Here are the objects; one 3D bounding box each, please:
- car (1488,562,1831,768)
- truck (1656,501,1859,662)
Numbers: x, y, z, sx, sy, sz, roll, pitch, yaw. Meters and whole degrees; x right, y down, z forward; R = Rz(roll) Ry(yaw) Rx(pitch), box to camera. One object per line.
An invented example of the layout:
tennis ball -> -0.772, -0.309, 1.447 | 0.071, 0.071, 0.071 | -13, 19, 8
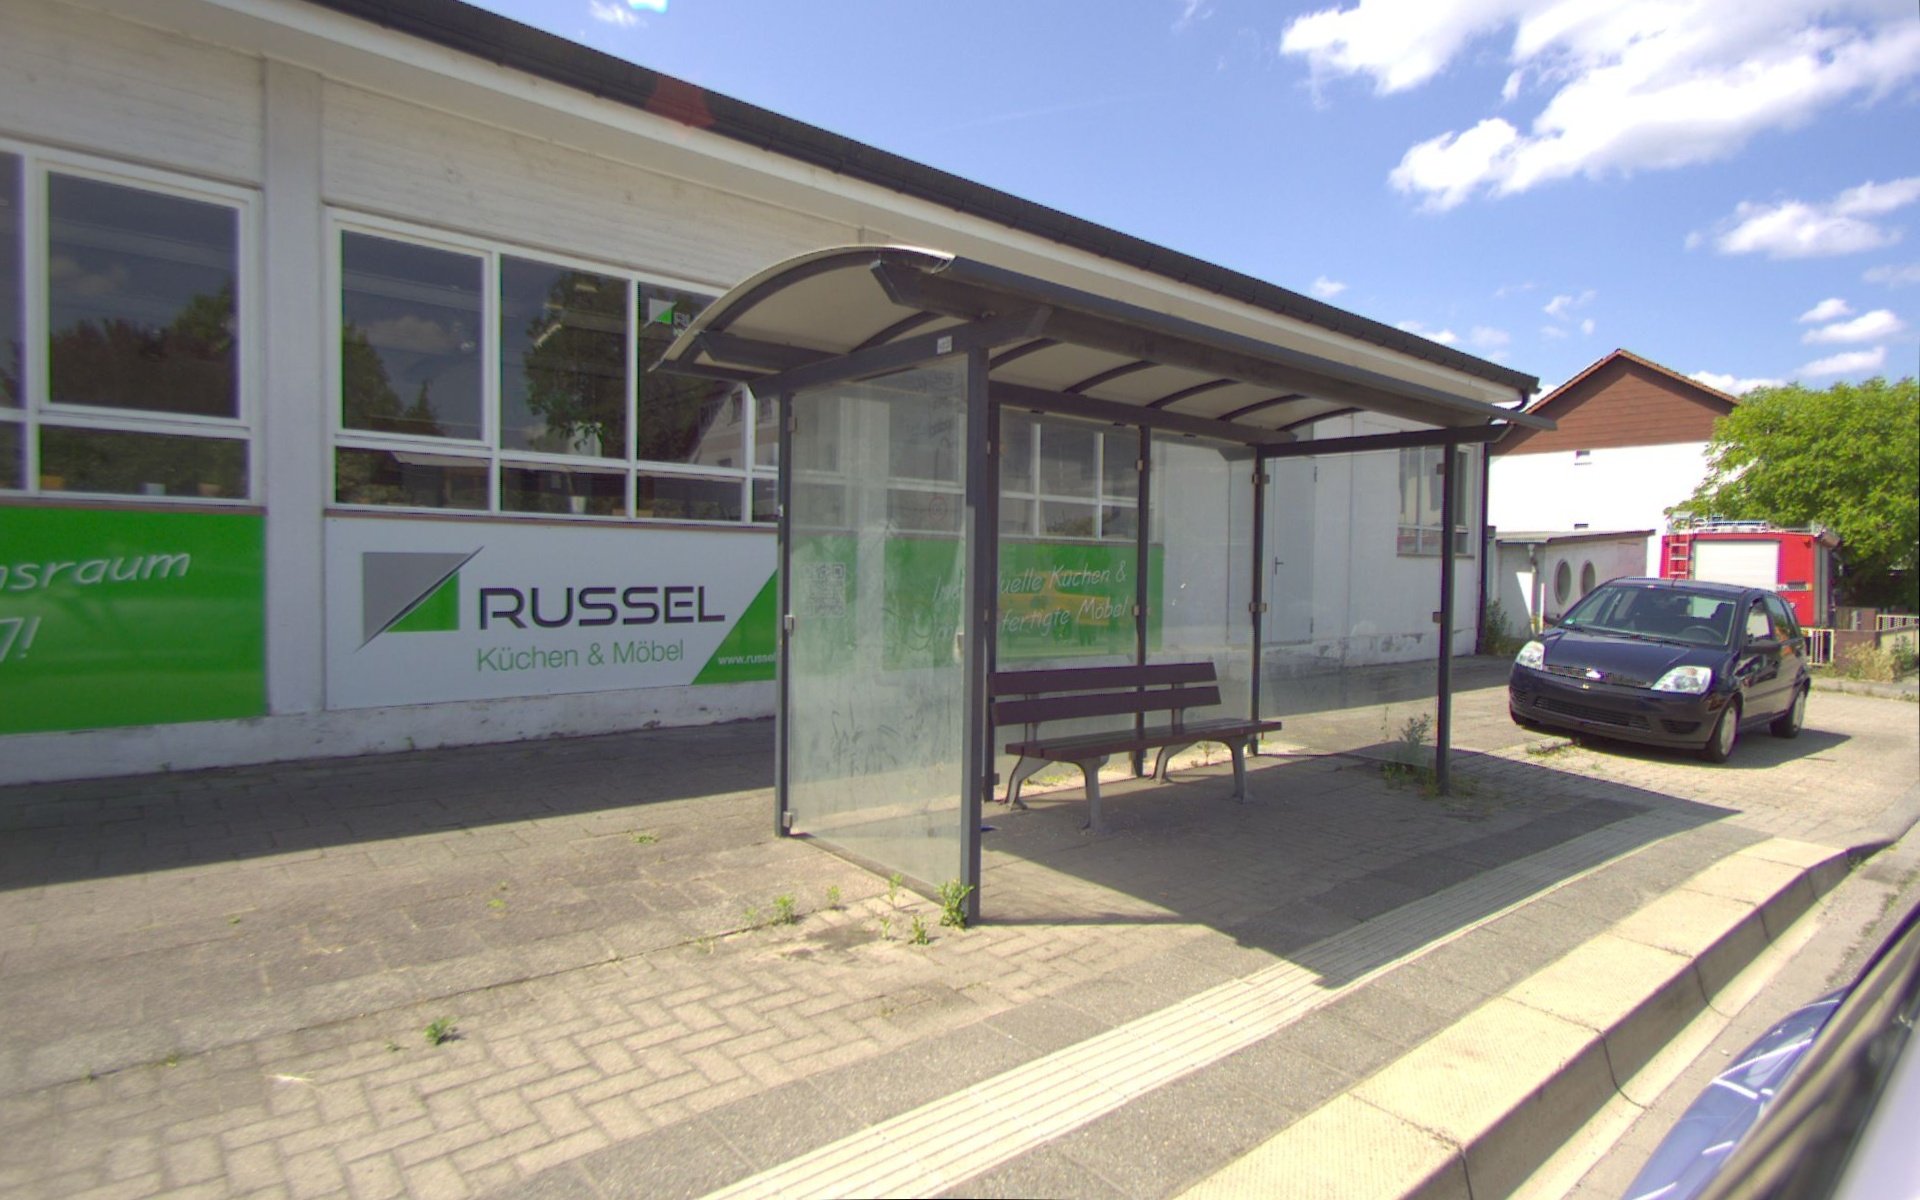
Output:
car -> 6.662, 0.458, 9.507 | 3.694, 1.511, 1.729 | 0, 3, -41
truck -> 16.500, -0.429, 20.767 | 2.574, 2.795, 6.235 | 4, 4, 44
